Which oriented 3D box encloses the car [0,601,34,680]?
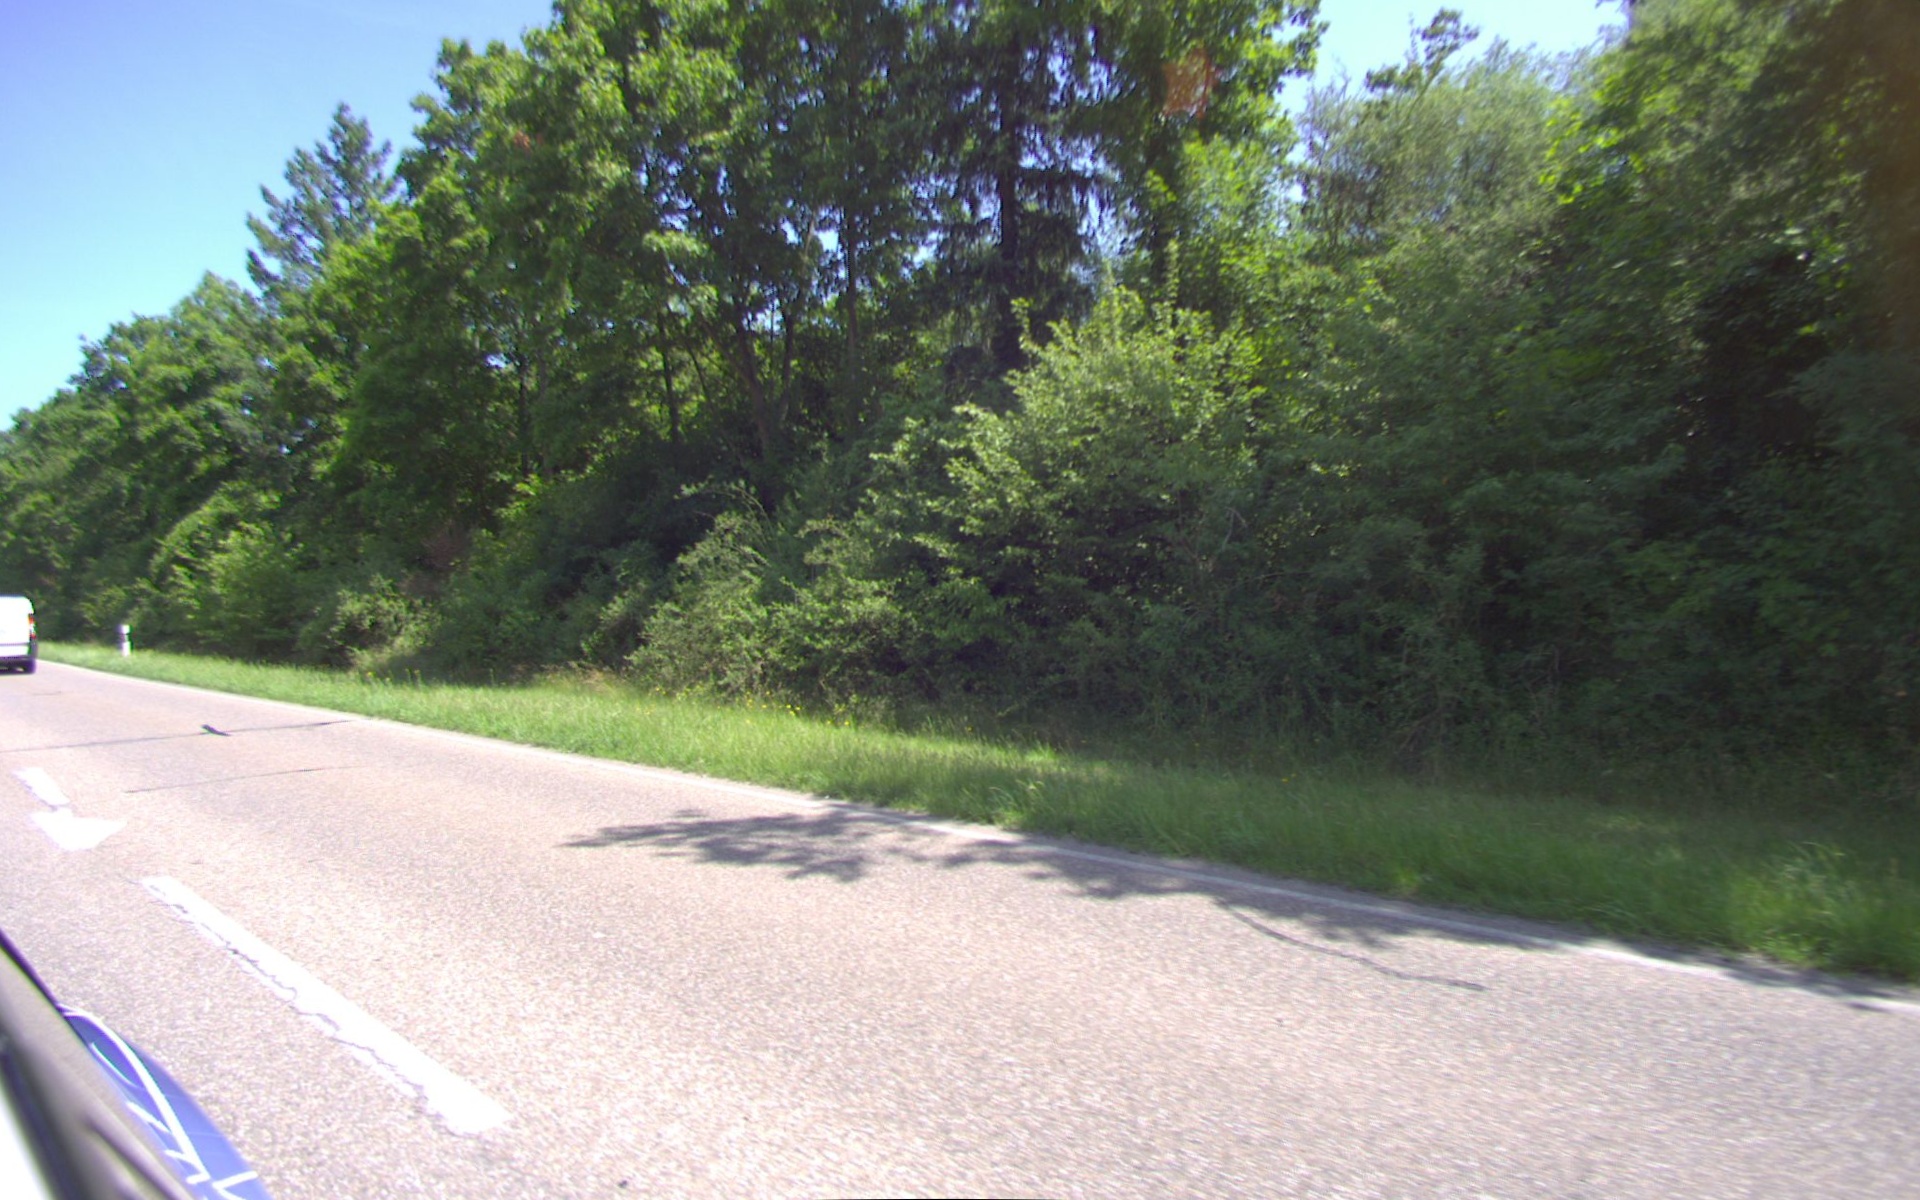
[{"bbox_3d":[-25.895,1.042,26.539,4.985,1.943,1.855,-1,-1,41],"label":"car"}]
